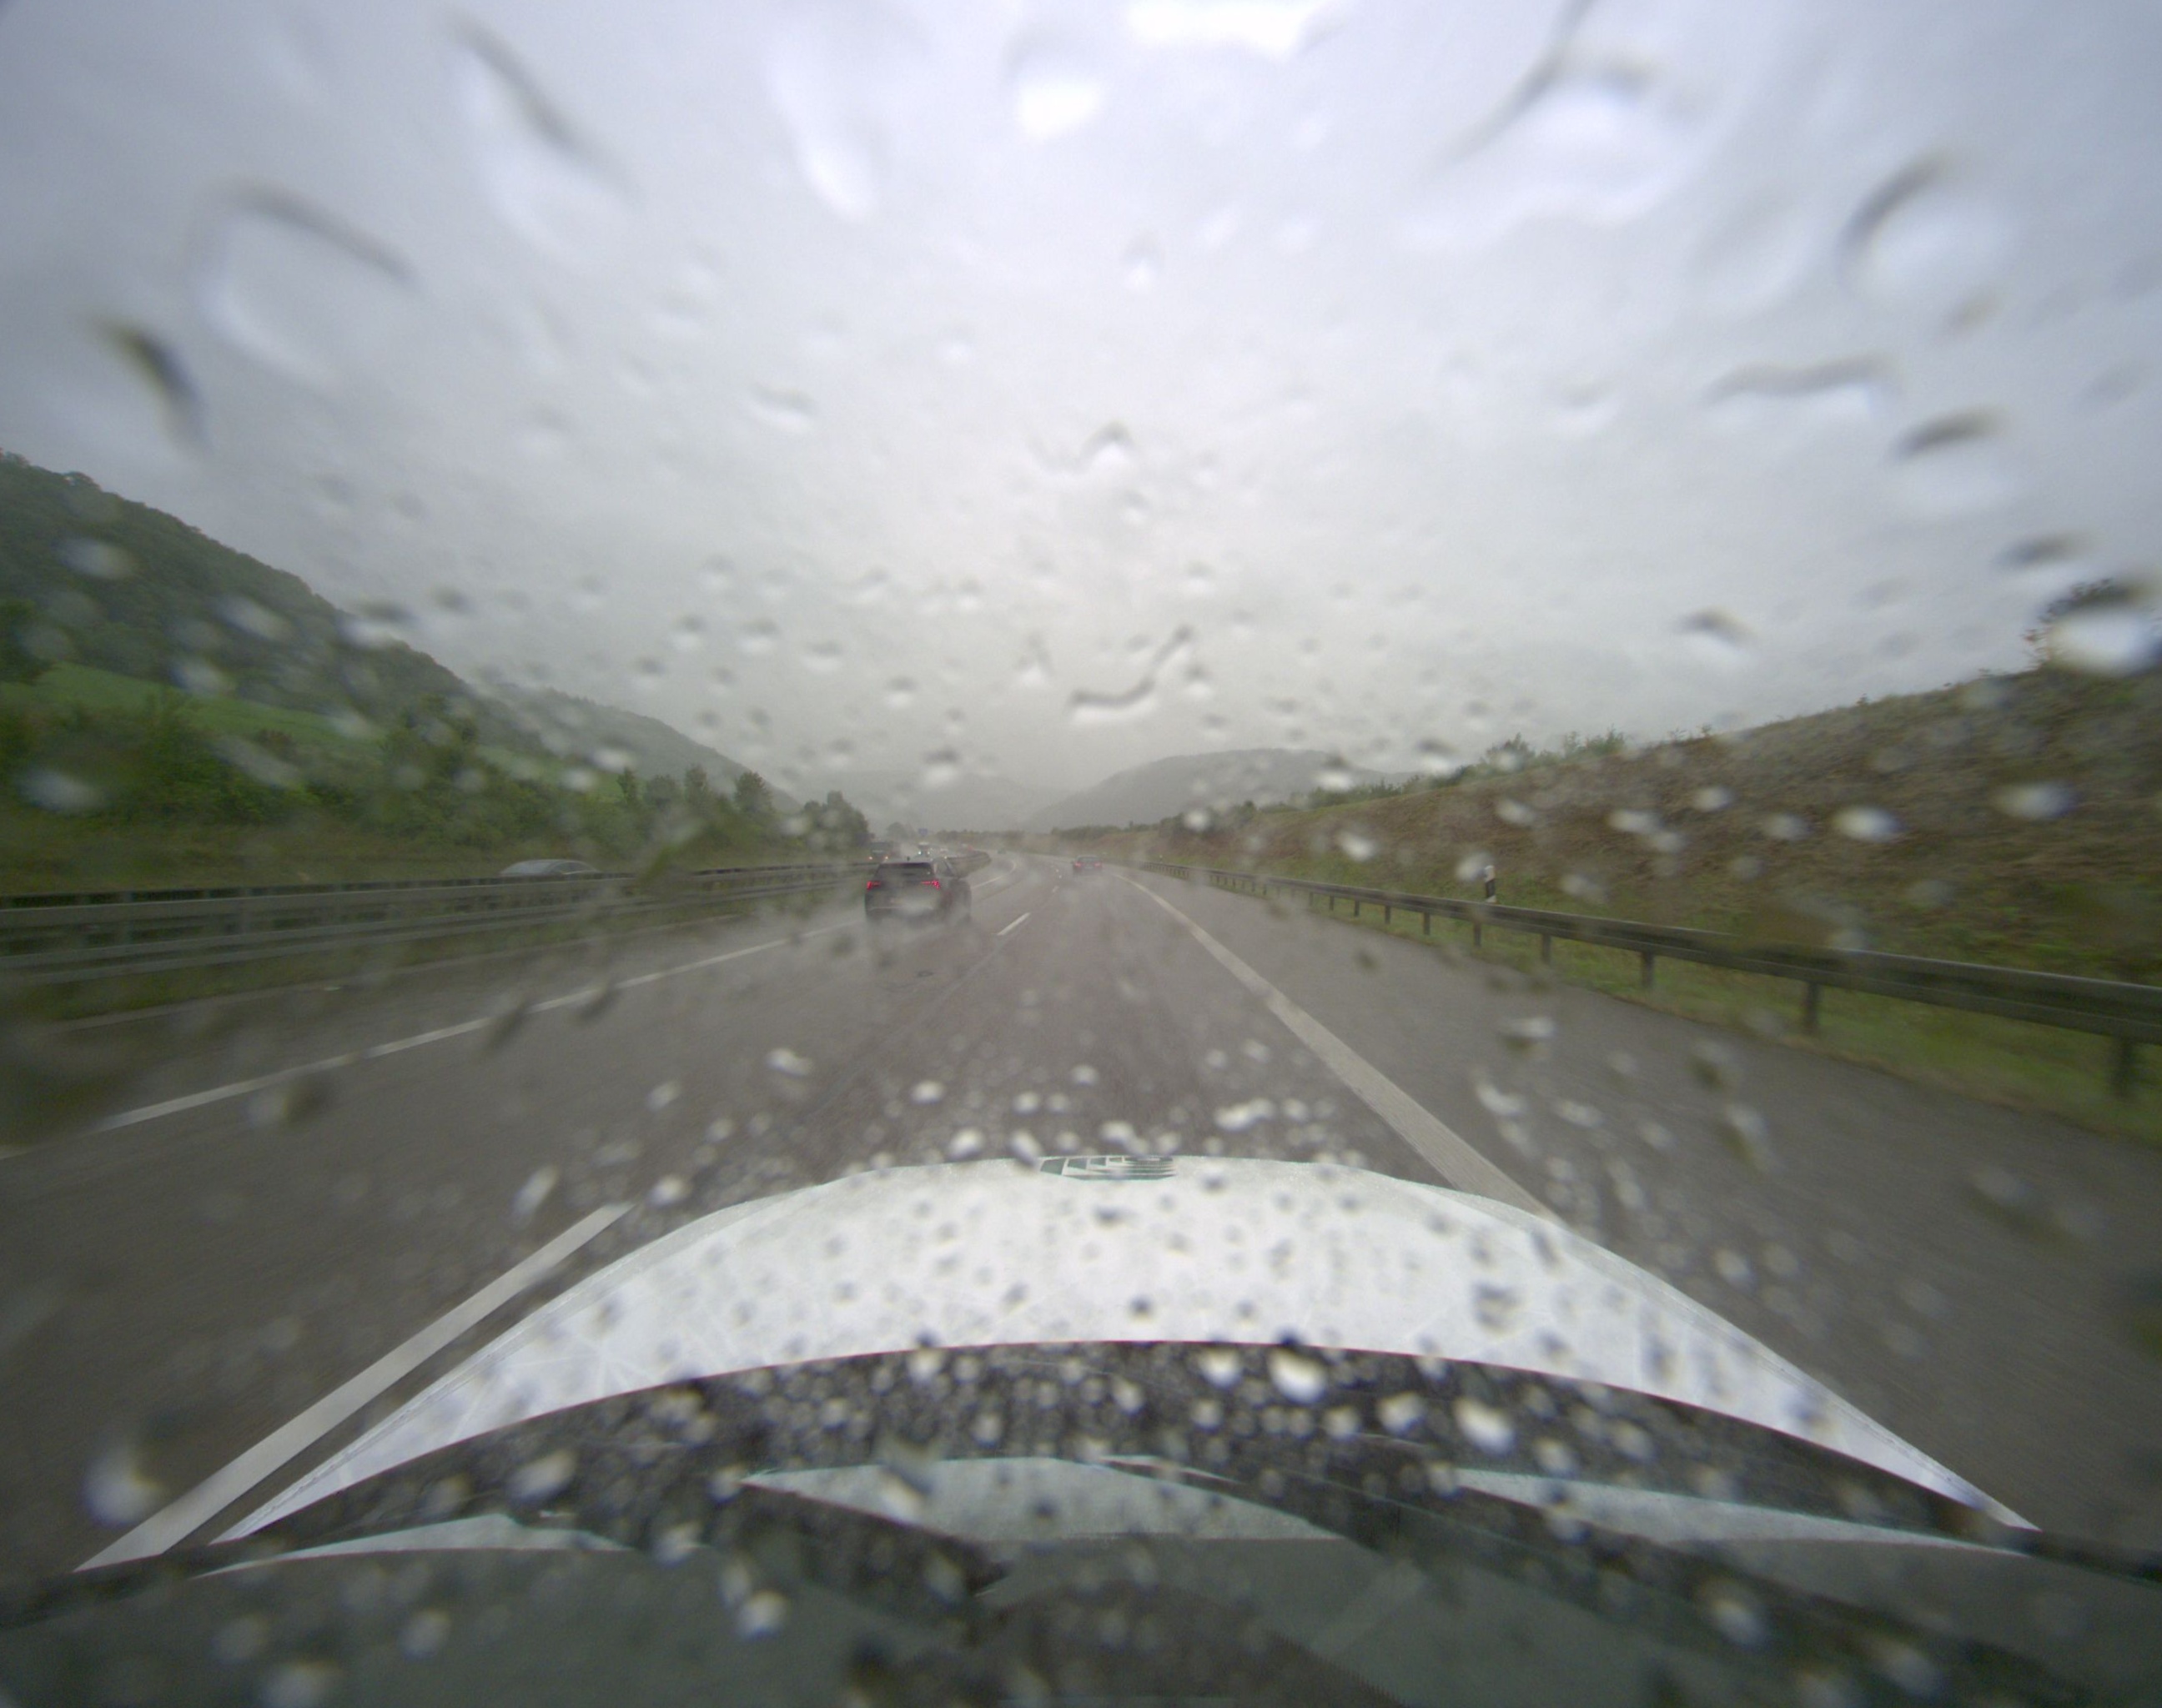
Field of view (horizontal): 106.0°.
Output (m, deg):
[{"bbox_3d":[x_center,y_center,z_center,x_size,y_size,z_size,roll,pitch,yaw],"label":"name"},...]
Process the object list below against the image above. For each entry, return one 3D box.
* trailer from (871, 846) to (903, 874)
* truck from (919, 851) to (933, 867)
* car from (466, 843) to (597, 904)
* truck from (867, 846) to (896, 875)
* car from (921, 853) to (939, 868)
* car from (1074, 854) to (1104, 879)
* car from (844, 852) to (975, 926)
[{"bbox_3d":[-25.339,0.795,106.915,2.716,3.491,9.378,0,0,-5],"label":"trailer"},{"bbox_3d":[-37.083,1.193,194.516,2.881,3.802,5.303,-1,0,-7],"label":"truck"},{"bbox_3d":[-17.596,0.578,26.291,1.673,1.794,3.684,-1,0,1],"label":"car"},{"bbox_3d":[-24.907,0.787,102.031,2.712,3.542,5.301,0,0,-5],"label":"truck"},{"bbox_3d":[-20.719,0.869,112.091,1.909,2.013,3.996,0,0,-2],"label":"car"},{"bbox_3d":[0.476,0.732,50.562,1.675,1.472,3.811,1,0,-2],"label":"car"},{"bbox_3d":[-3.910,0.755,19.497,2.402,1.515,4.776,1,0,-4],"label":"car"}]
